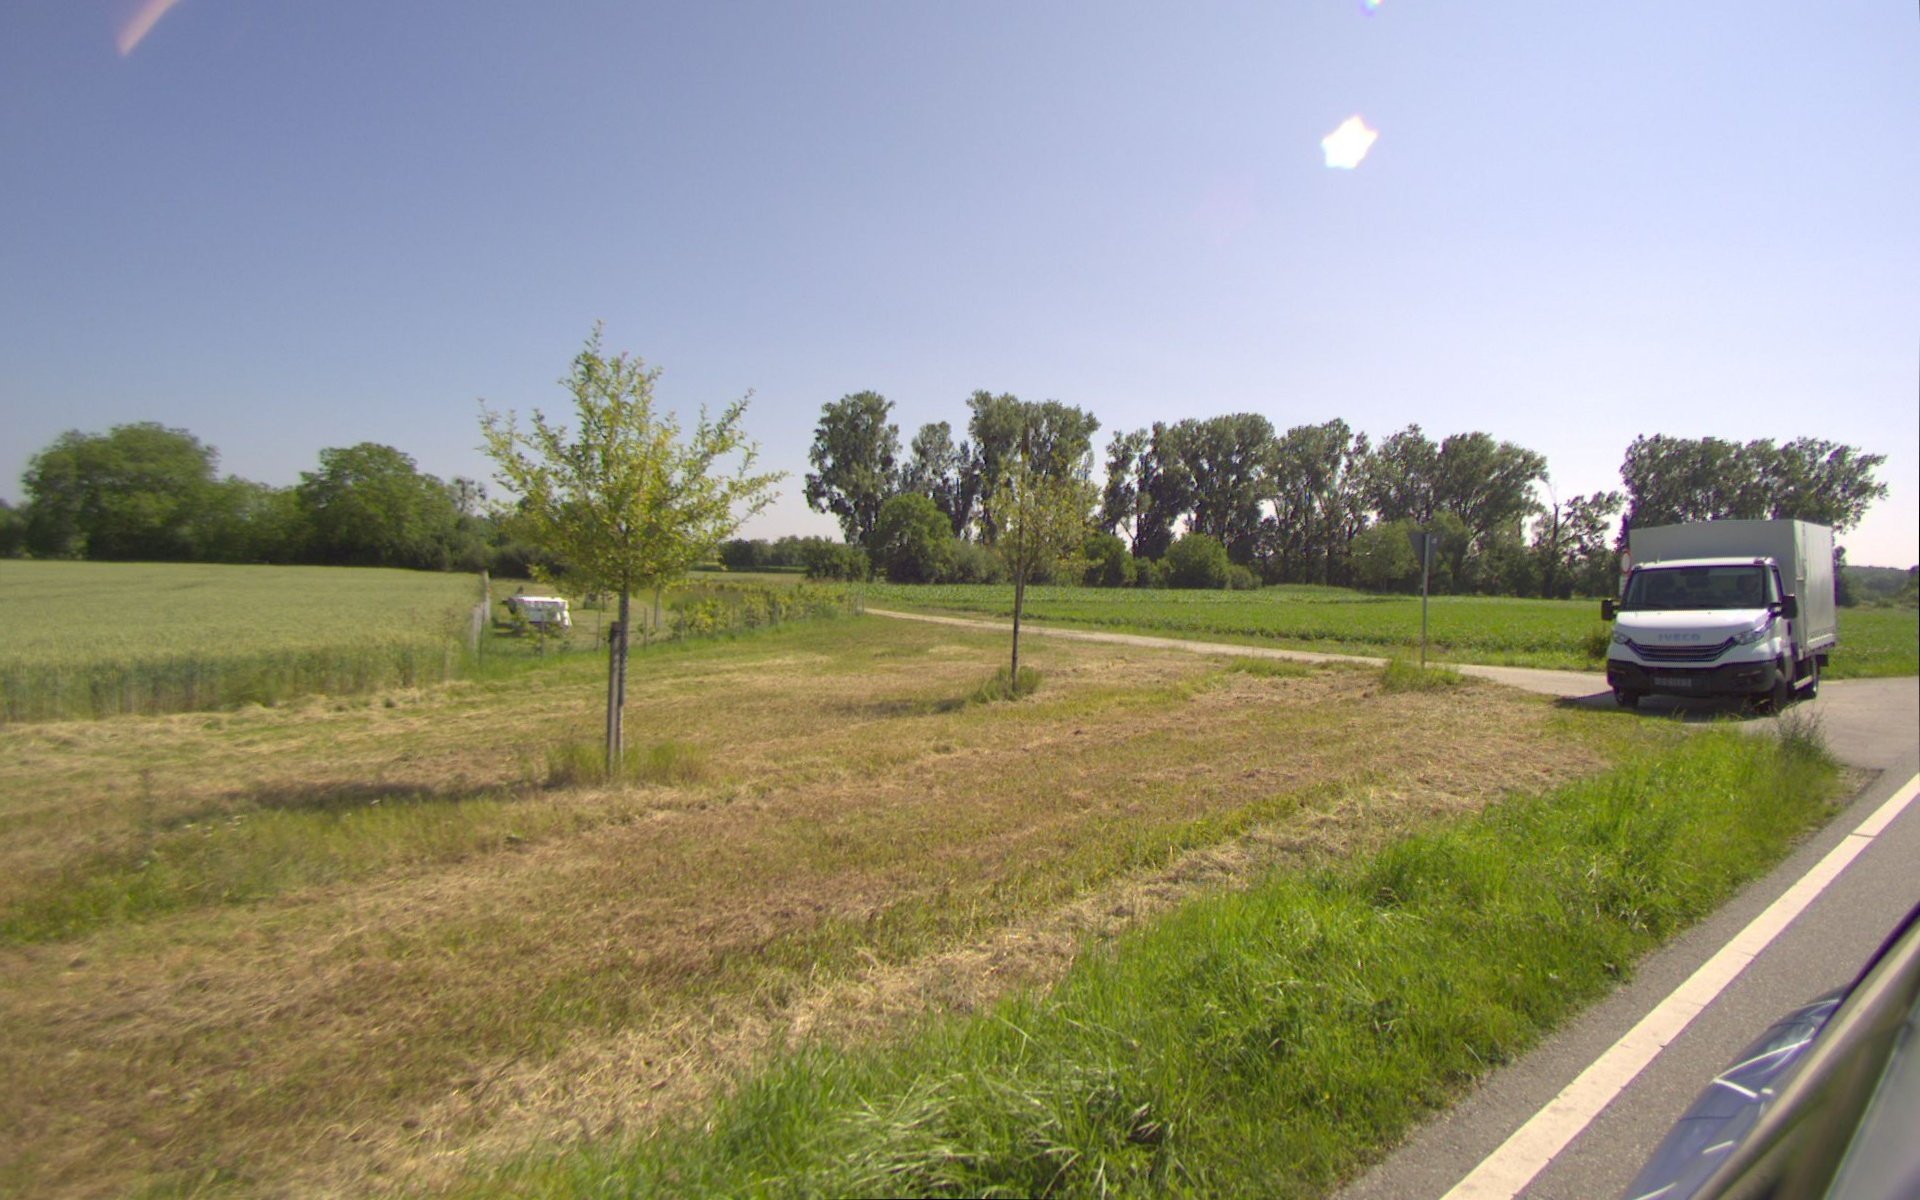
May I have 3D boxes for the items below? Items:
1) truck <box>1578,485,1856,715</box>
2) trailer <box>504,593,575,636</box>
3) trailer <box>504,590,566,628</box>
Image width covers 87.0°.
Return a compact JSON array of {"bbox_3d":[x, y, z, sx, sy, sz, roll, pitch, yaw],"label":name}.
[{"bbox_3d":[12.402,0.008,16.316,6.890,2.980,2.338,0,-1,-43],"label":"truck"},{"bbox_3d":[-12.647,0.389,30.340,1.630,1.204,3.602,0,0,-28],"label":"trailer"},{"bbox_3d":[-14.547,0.279,34.558,1.630,1.204,3.554,0,1,-28],"label":"trailer"}]
